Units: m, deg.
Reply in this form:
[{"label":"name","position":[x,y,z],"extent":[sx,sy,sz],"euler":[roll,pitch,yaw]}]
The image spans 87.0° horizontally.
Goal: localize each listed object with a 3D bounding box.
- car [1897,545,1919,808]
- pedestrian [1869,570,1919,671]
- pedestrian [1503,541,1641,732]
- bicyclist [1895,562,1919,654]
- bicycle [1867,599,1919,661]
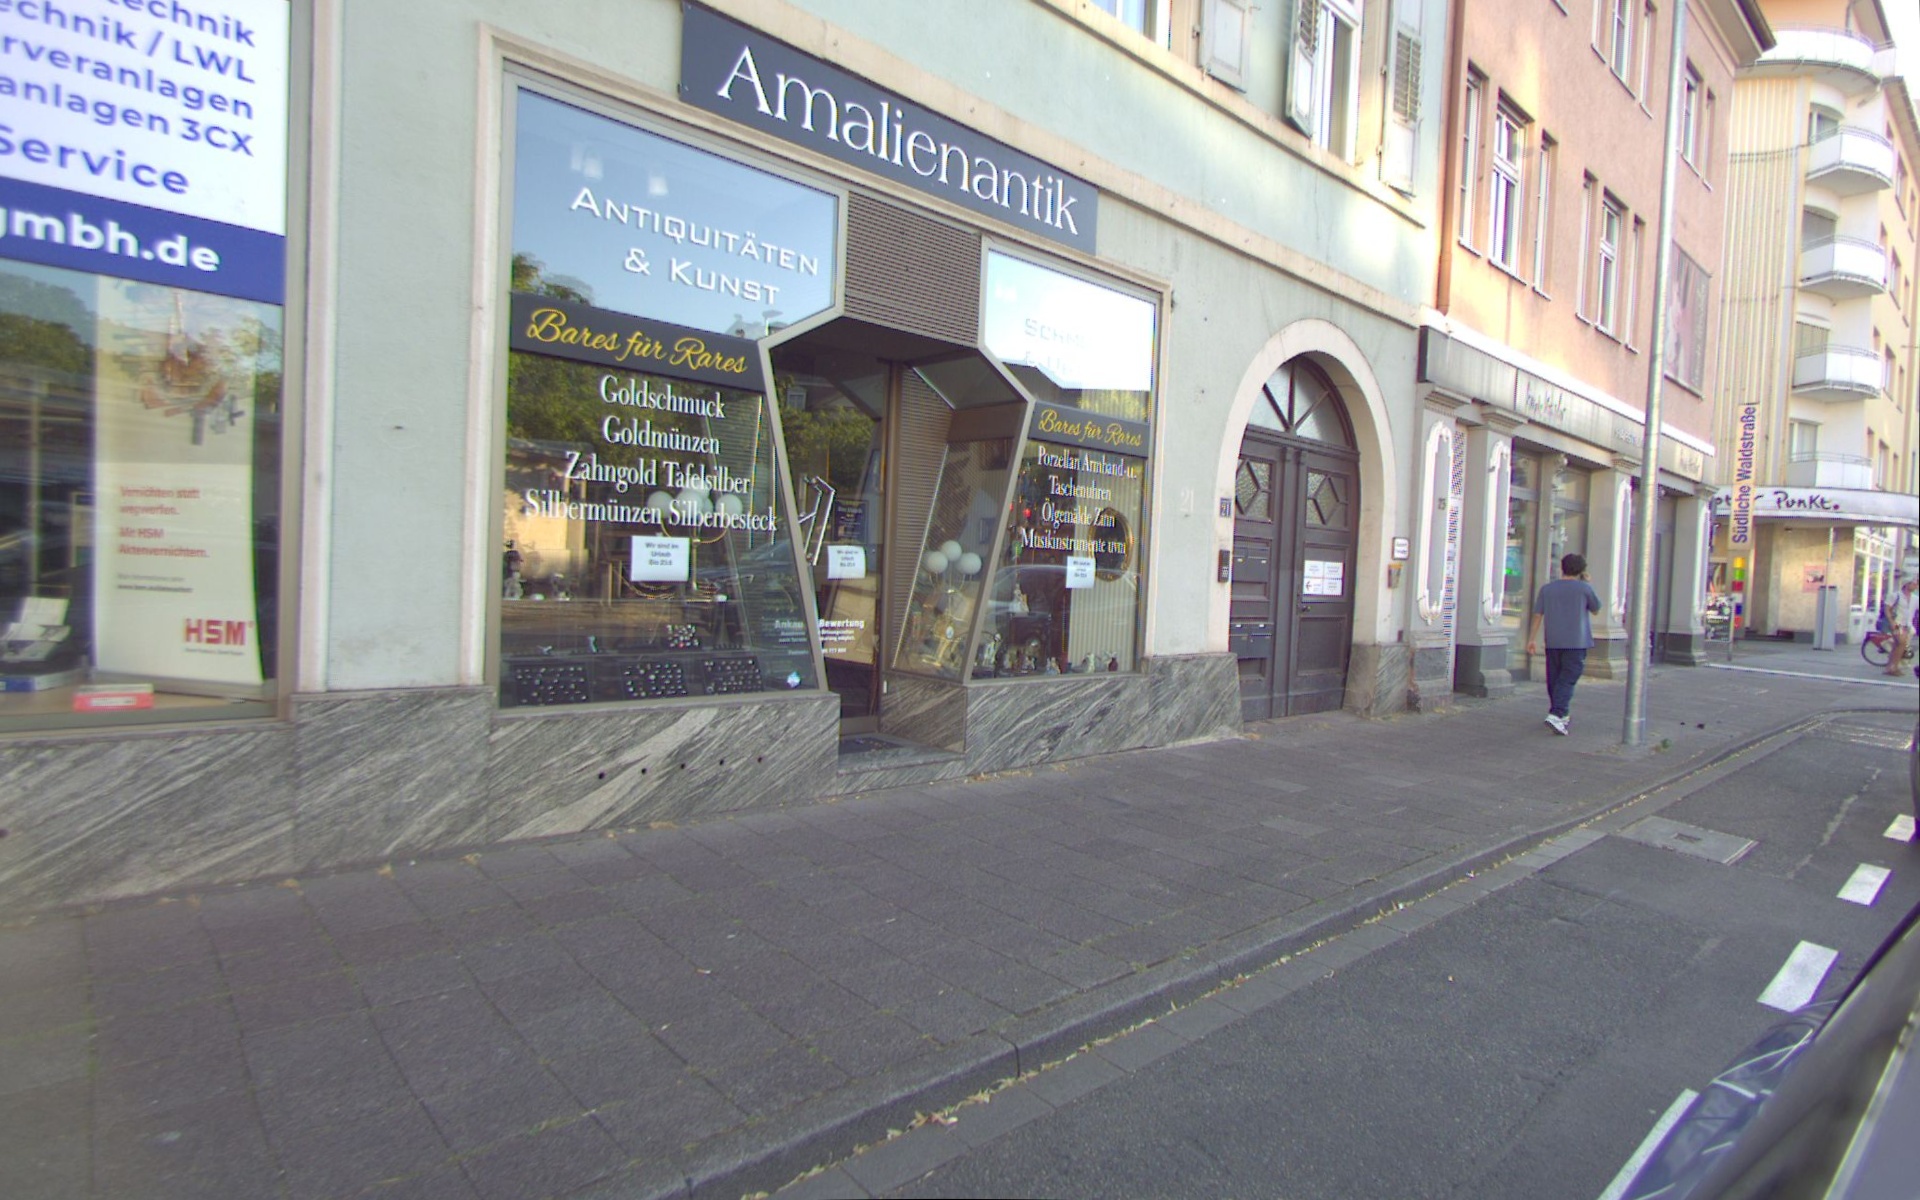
[{"label":"car","position":[7.590,0.478,6.329],"extent":[4.369,1.464,1.908],"euler":[0,2,-39]},{"label":"pedestrian","position":[17.515,0.365,18.508],"extent":[0.814,1.796,1.096],"euler":[3,2,15]},{"label":"pedestrian","position":[5.693,0.305,9.416],"extent":[0.857,1.662,0.824],"euler":[1,2,-43]},{"label":"bicyclist","position":[19.739,0.166,20.564],"extent":[0.815,1.848,0.837],"euler":[1,2,-33]},{"label":"bicycle","position":[19.749,0.637,20.526],"extent":[0.778,1.200,1.828],"euler":[1,3,-32]}]
